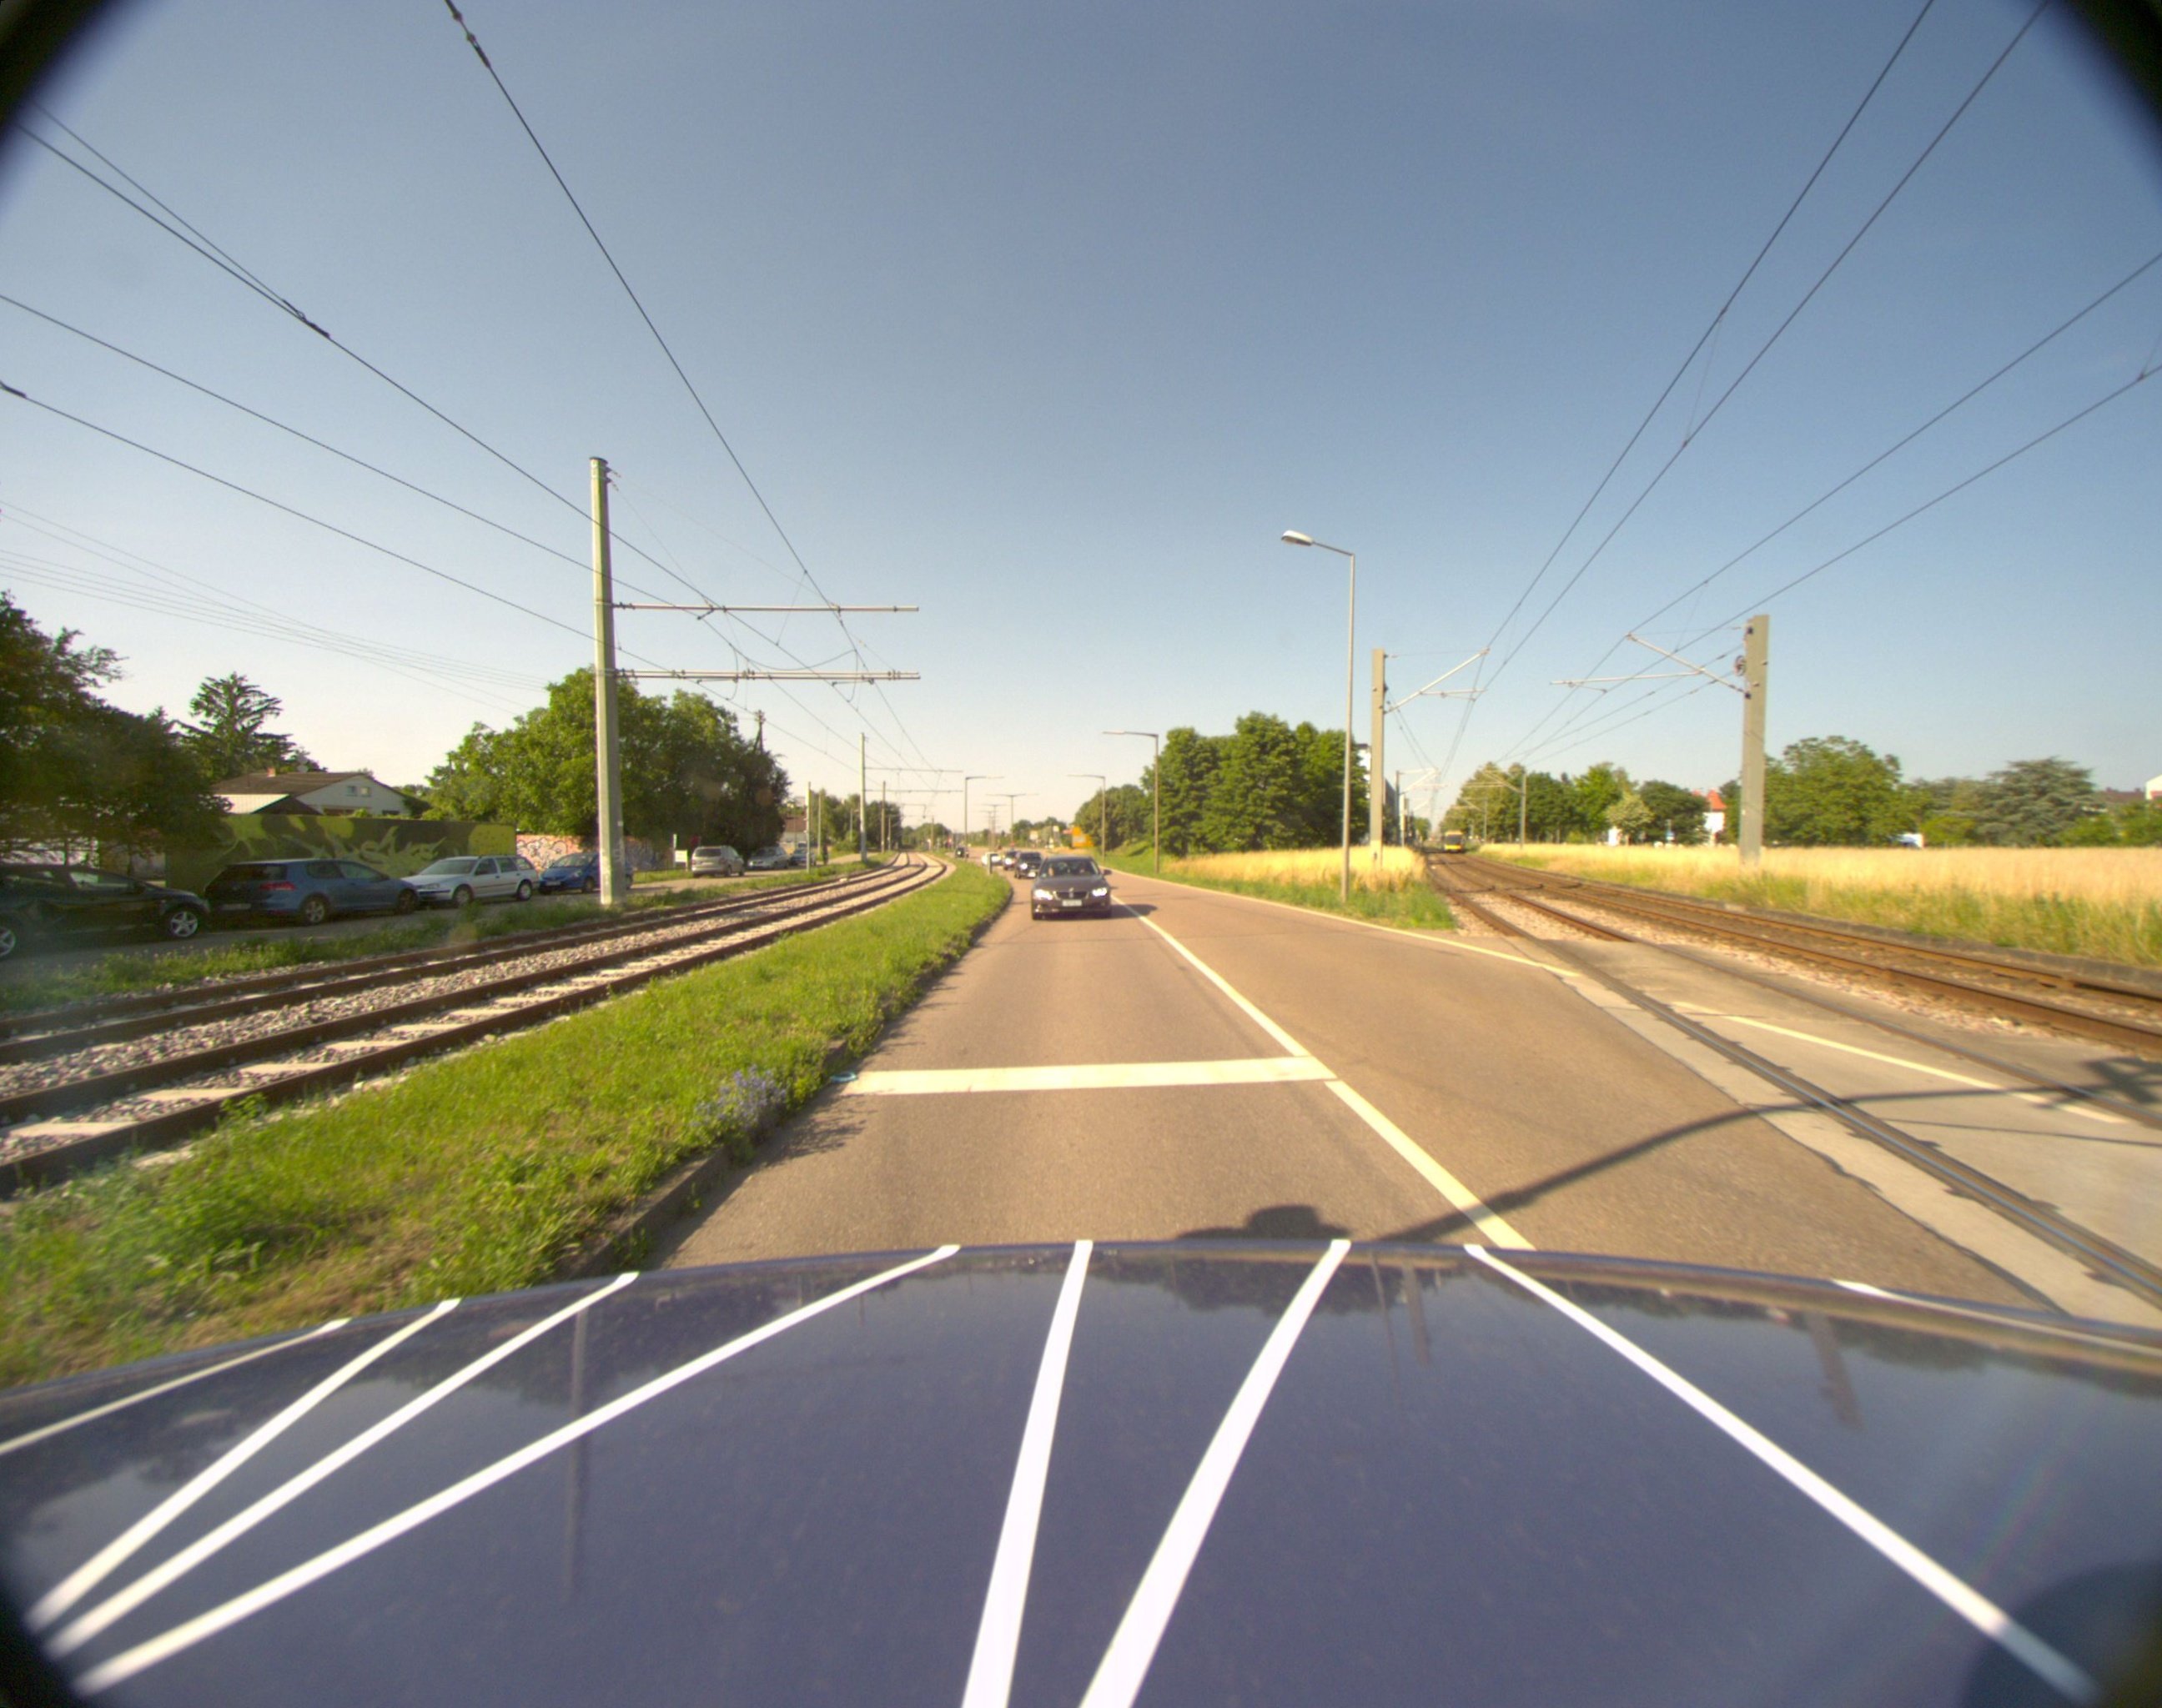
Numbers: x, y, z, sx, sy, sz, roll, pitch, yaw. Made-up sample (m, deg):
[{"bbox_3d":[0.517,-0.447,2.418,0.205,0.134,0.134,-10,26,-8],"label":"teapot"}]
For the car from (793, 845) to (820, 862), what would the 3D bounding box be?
[{"bbox_3d":[-23.078,-0.062,64.056,1.539,1.440,4.126,0,1,-12],"label":"car"}]

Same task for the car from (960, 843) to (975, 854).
[{"bbox_3d":[-17.138,-0.805,114.825,1.839,1.504,4.148,-2,1,-13],"label":"car"}]

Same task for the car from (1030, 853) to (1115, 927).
[{"bbox_3d":[-0.311,0.767,18.256,1.748,1.444,3.944,-2,1,-4],"label":"car"}]

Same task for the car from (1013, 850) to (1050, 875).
[{"bbox_3d":[-3.051,0.503,46.386,1.849,1.348,4.150,-2,1,-9],"label":"car"}]

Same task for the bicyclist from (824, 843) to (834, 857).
[{"bbox_3d":[-21.257,-0.341,64.022,0.641,1.226,0.790,-2,1,-10],"label":"bicyclist"}]

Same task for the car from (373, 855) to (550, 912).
[{"bbox_3d":[-17.908,0.778,22.278,1.714,1.457,4.388,0,1,-3],"label":"car"}]

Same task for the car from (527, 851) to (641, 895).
[{"bbox_3d":[-18.335,0.639,28.247,1.682,1.422,3.910,-2,1,-1],"label":"car"}]

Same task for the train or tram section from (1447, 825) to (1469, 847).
[{"bbox_3d":[65.018,-3.127,130.848,2.919,3.435,12.184,-1,2,29],"label":"train or tram section"}]

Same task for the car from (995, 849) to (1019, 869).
[{"bbox_3d":[-6.340,0.397,64.882,1.609,1.504,4.263,-2,1,-11],"label":"car"}]

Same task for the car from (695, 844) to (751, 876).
[{"bbox_3d":[-18.853,0.252,40.213,1.527,1.601,4.479,0,1,-10],"label":"car"}]

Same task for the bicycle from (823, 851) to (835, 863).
[{"bbox_3d":[-21.242,0.252,64.055,0.645,0.904,1.812,-2,1,-9],"label":"bicycle"}]

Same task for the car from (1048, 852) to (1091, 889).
[{"bbox_3d":[-0.535,0.660,33.148,1.711,1.444,4.588,-2,1,-2],"label":"car"}]

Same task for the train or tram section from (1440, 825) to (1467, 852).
[{"bbox_3d":[58.563,-2.541,119.287,2.908,3.549,14.281,-1,3,29],"label":"train or tram section"}]

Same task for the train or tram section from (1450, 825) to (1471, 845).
[{"bbox_3d":[70.774,-3.569,141.568,2.952,3.465,12.185,-1,1,28],"label":"train or tram section"}]

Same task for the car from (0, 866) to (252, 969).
[{"bbox_3d":[-16.814,0.995,12.485,1.627,1.402,4.518,-2,1,-5],"label":"car"}]

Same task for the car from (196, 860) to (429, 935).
[{"bbox_3d":[-17.233,0.894,17.375,1.489,1.393,4.146,-1,1,-8],"label":"car"}]

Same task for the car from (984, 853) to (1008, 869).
[{"bbox_3d":[-8.989,0.735,80.433,1.970,1.609,4.302,-1,1,-14],"label":"car"}]

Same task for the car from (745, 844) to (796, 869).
[{"bbox_3d":[-21.174,0.145,51.950,1.913,1.581,4.724,0,1,-5],"label":"car"}]
